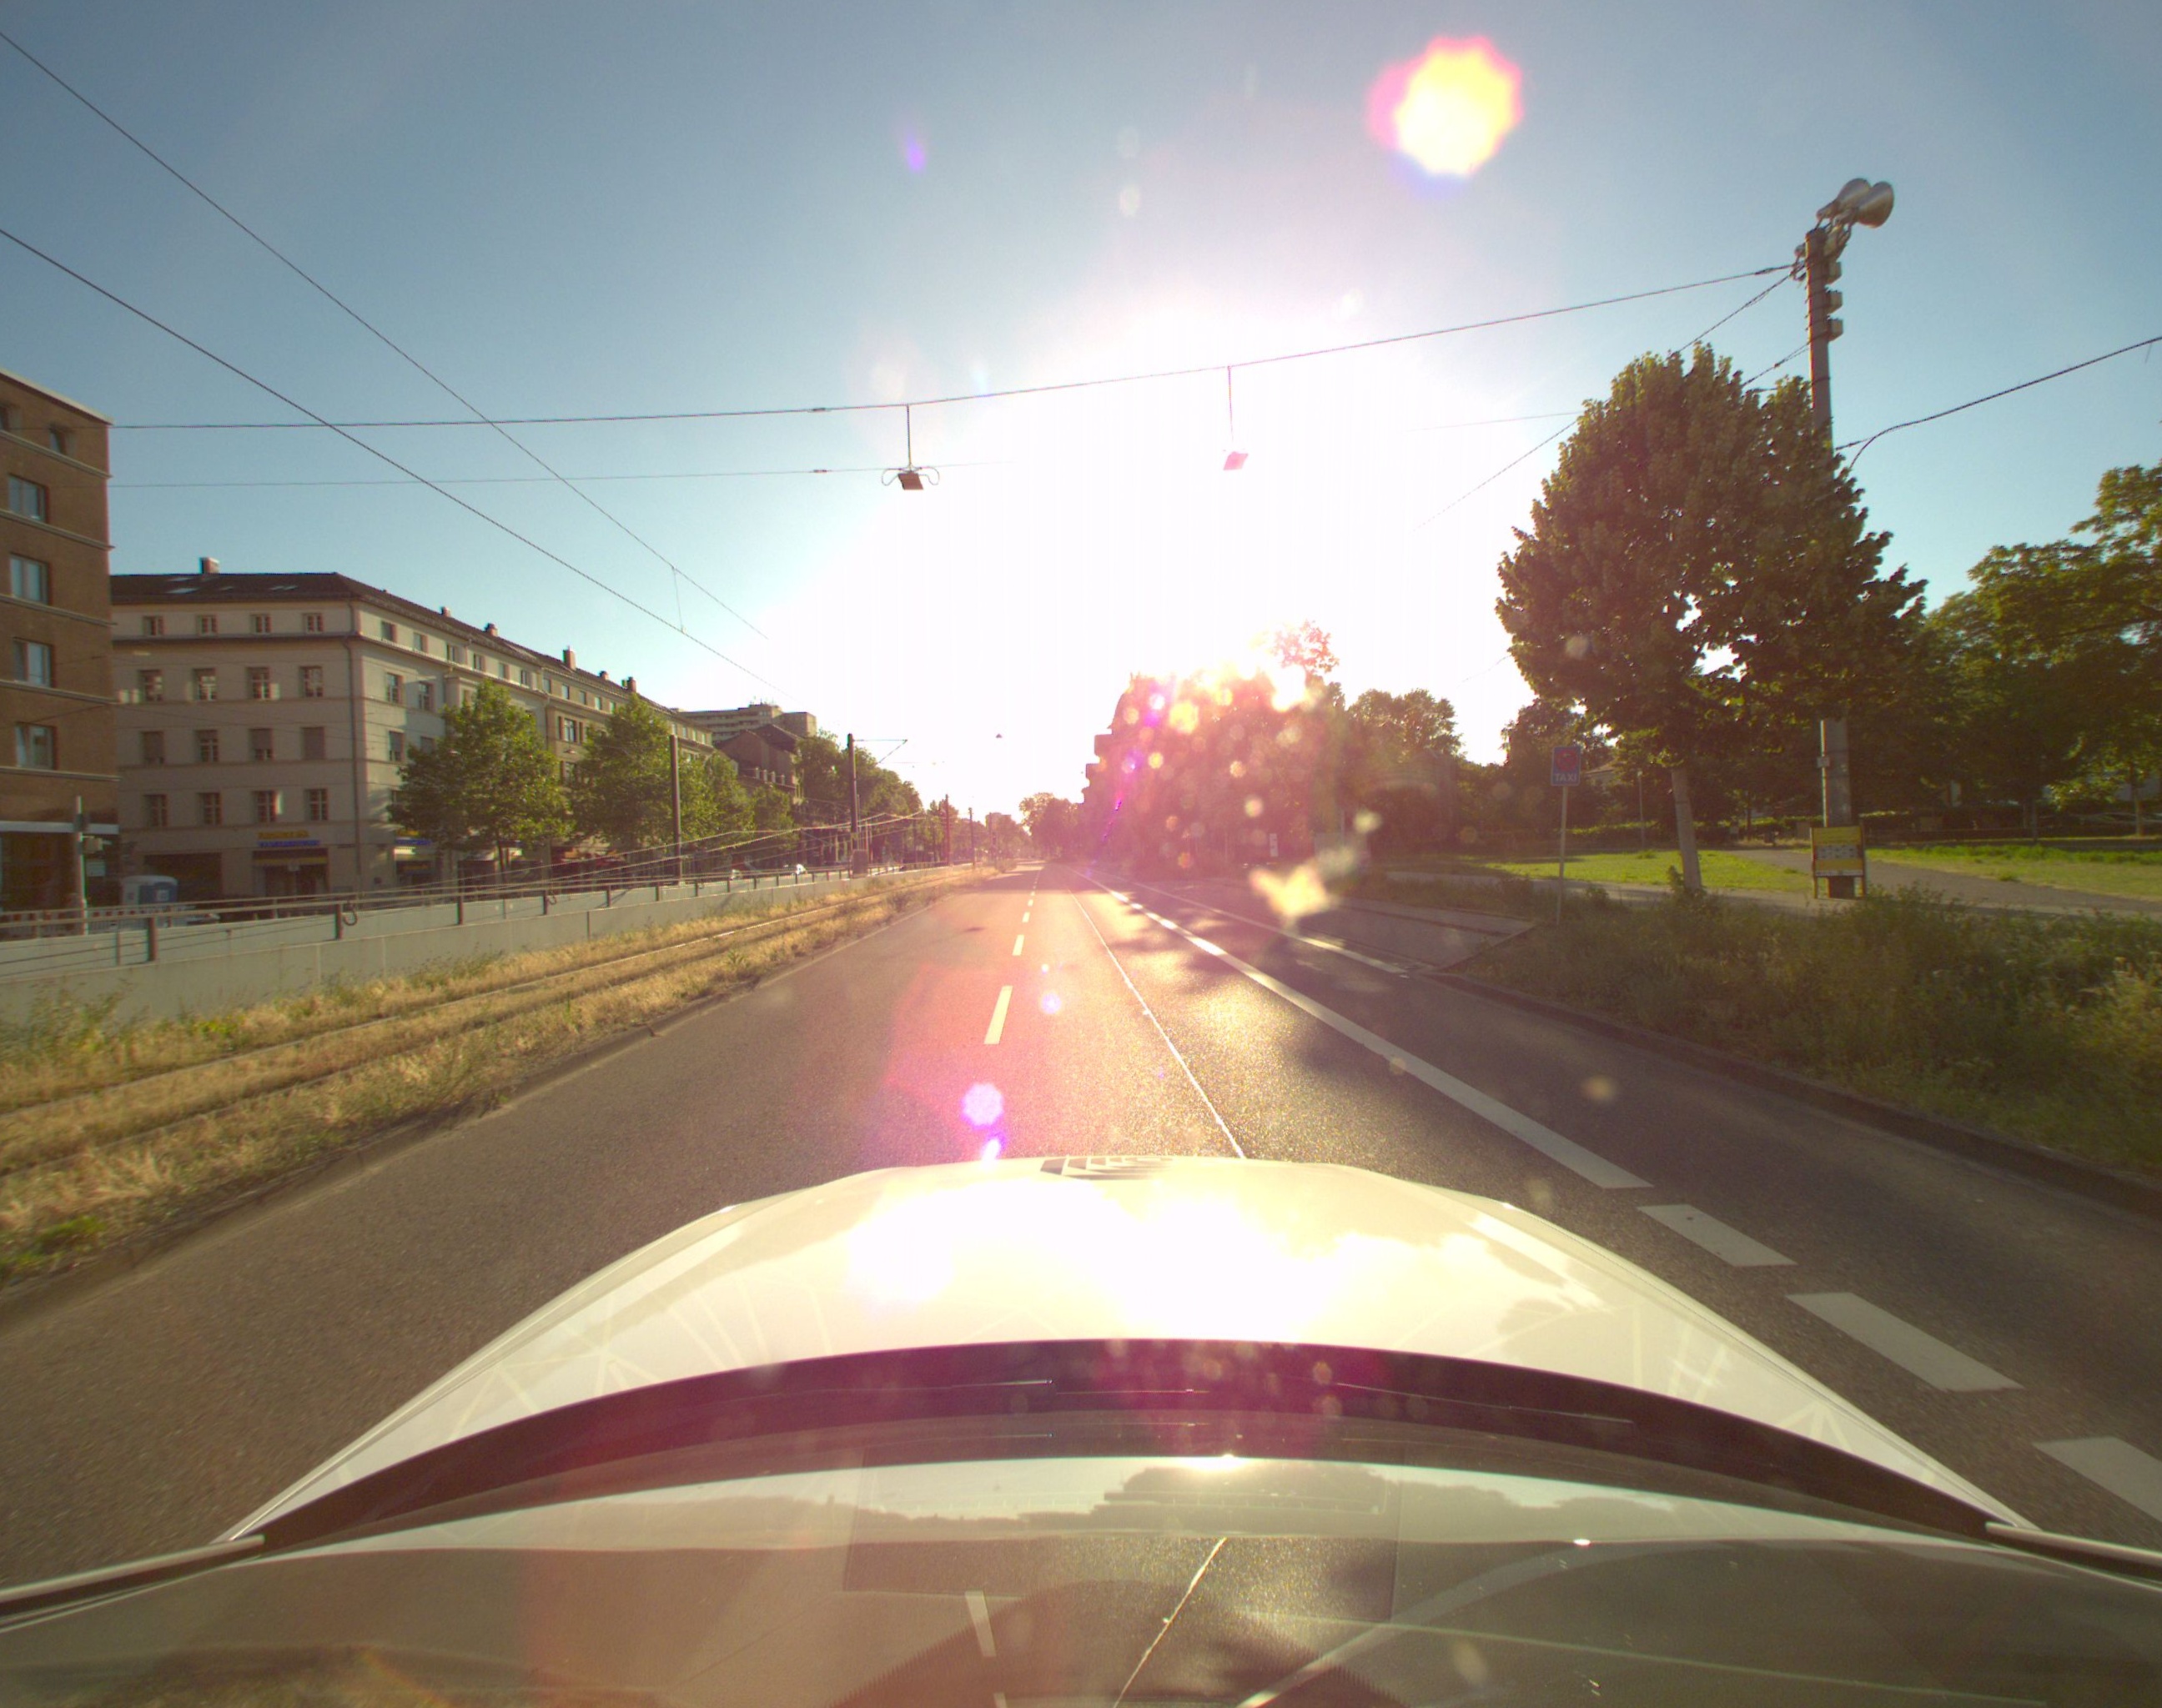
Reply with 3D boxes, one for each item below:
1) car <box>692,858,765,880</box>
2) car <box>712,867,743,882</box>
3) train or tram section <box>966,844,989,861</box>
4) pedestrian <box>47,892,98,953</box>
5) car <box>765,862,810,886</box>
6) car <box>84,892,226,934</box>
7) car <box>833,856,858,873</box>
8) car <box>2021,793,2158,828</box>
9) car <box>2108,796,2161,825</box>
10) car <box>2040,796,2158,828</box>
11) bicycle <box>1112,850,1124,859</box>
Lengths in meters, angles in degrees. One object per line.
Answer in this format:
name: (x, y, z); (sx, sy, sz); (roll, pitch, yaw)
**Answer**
car: (-41.319, 1.745, 95.644); (7.262, 2.266, 2.464); (-3, 0, -8)
car: (-34.223, 1.984, 78.862); (1.450, 1.332, 3.708); (0, -1, -1)
train or tram section: (-23.578, -0.300, 186.372); (3.102, 3.559, 17.474); (-3, 0, 0)
pedestrian: (-34.815, 2.358, 28.113); (0.696, 2.013, 0.772); (-2, 0, -1)
car: (-25.476, 1.731, 70.874); (1.987, 1.819, 4.978); (-3, 0, 0)
car: (-40.641, 2.570, 35.811); (3.974, 1.486, 1.898); (-3, 0, -1)
car: (-31.341, 1.393, 108.451); (1.947, 2.134, 4.569); (-3, 0, -2)
car: (58.569, -2.496, 47.453); (1.993, 1.718, 4.624); (-3, 0, -9)
car: (65.677, -2.684, 49.221); (1.862, 1.618, 4.152); (-3, 0, -4)
car: (61.374, -2.486, 49.211); (1.862, 1.630, 4.152); (-3, 0, -4)
bicycle: (5.114, 0.107, 112.617); (0.859, 1.196, 2.251); (-3, 0, 21)
